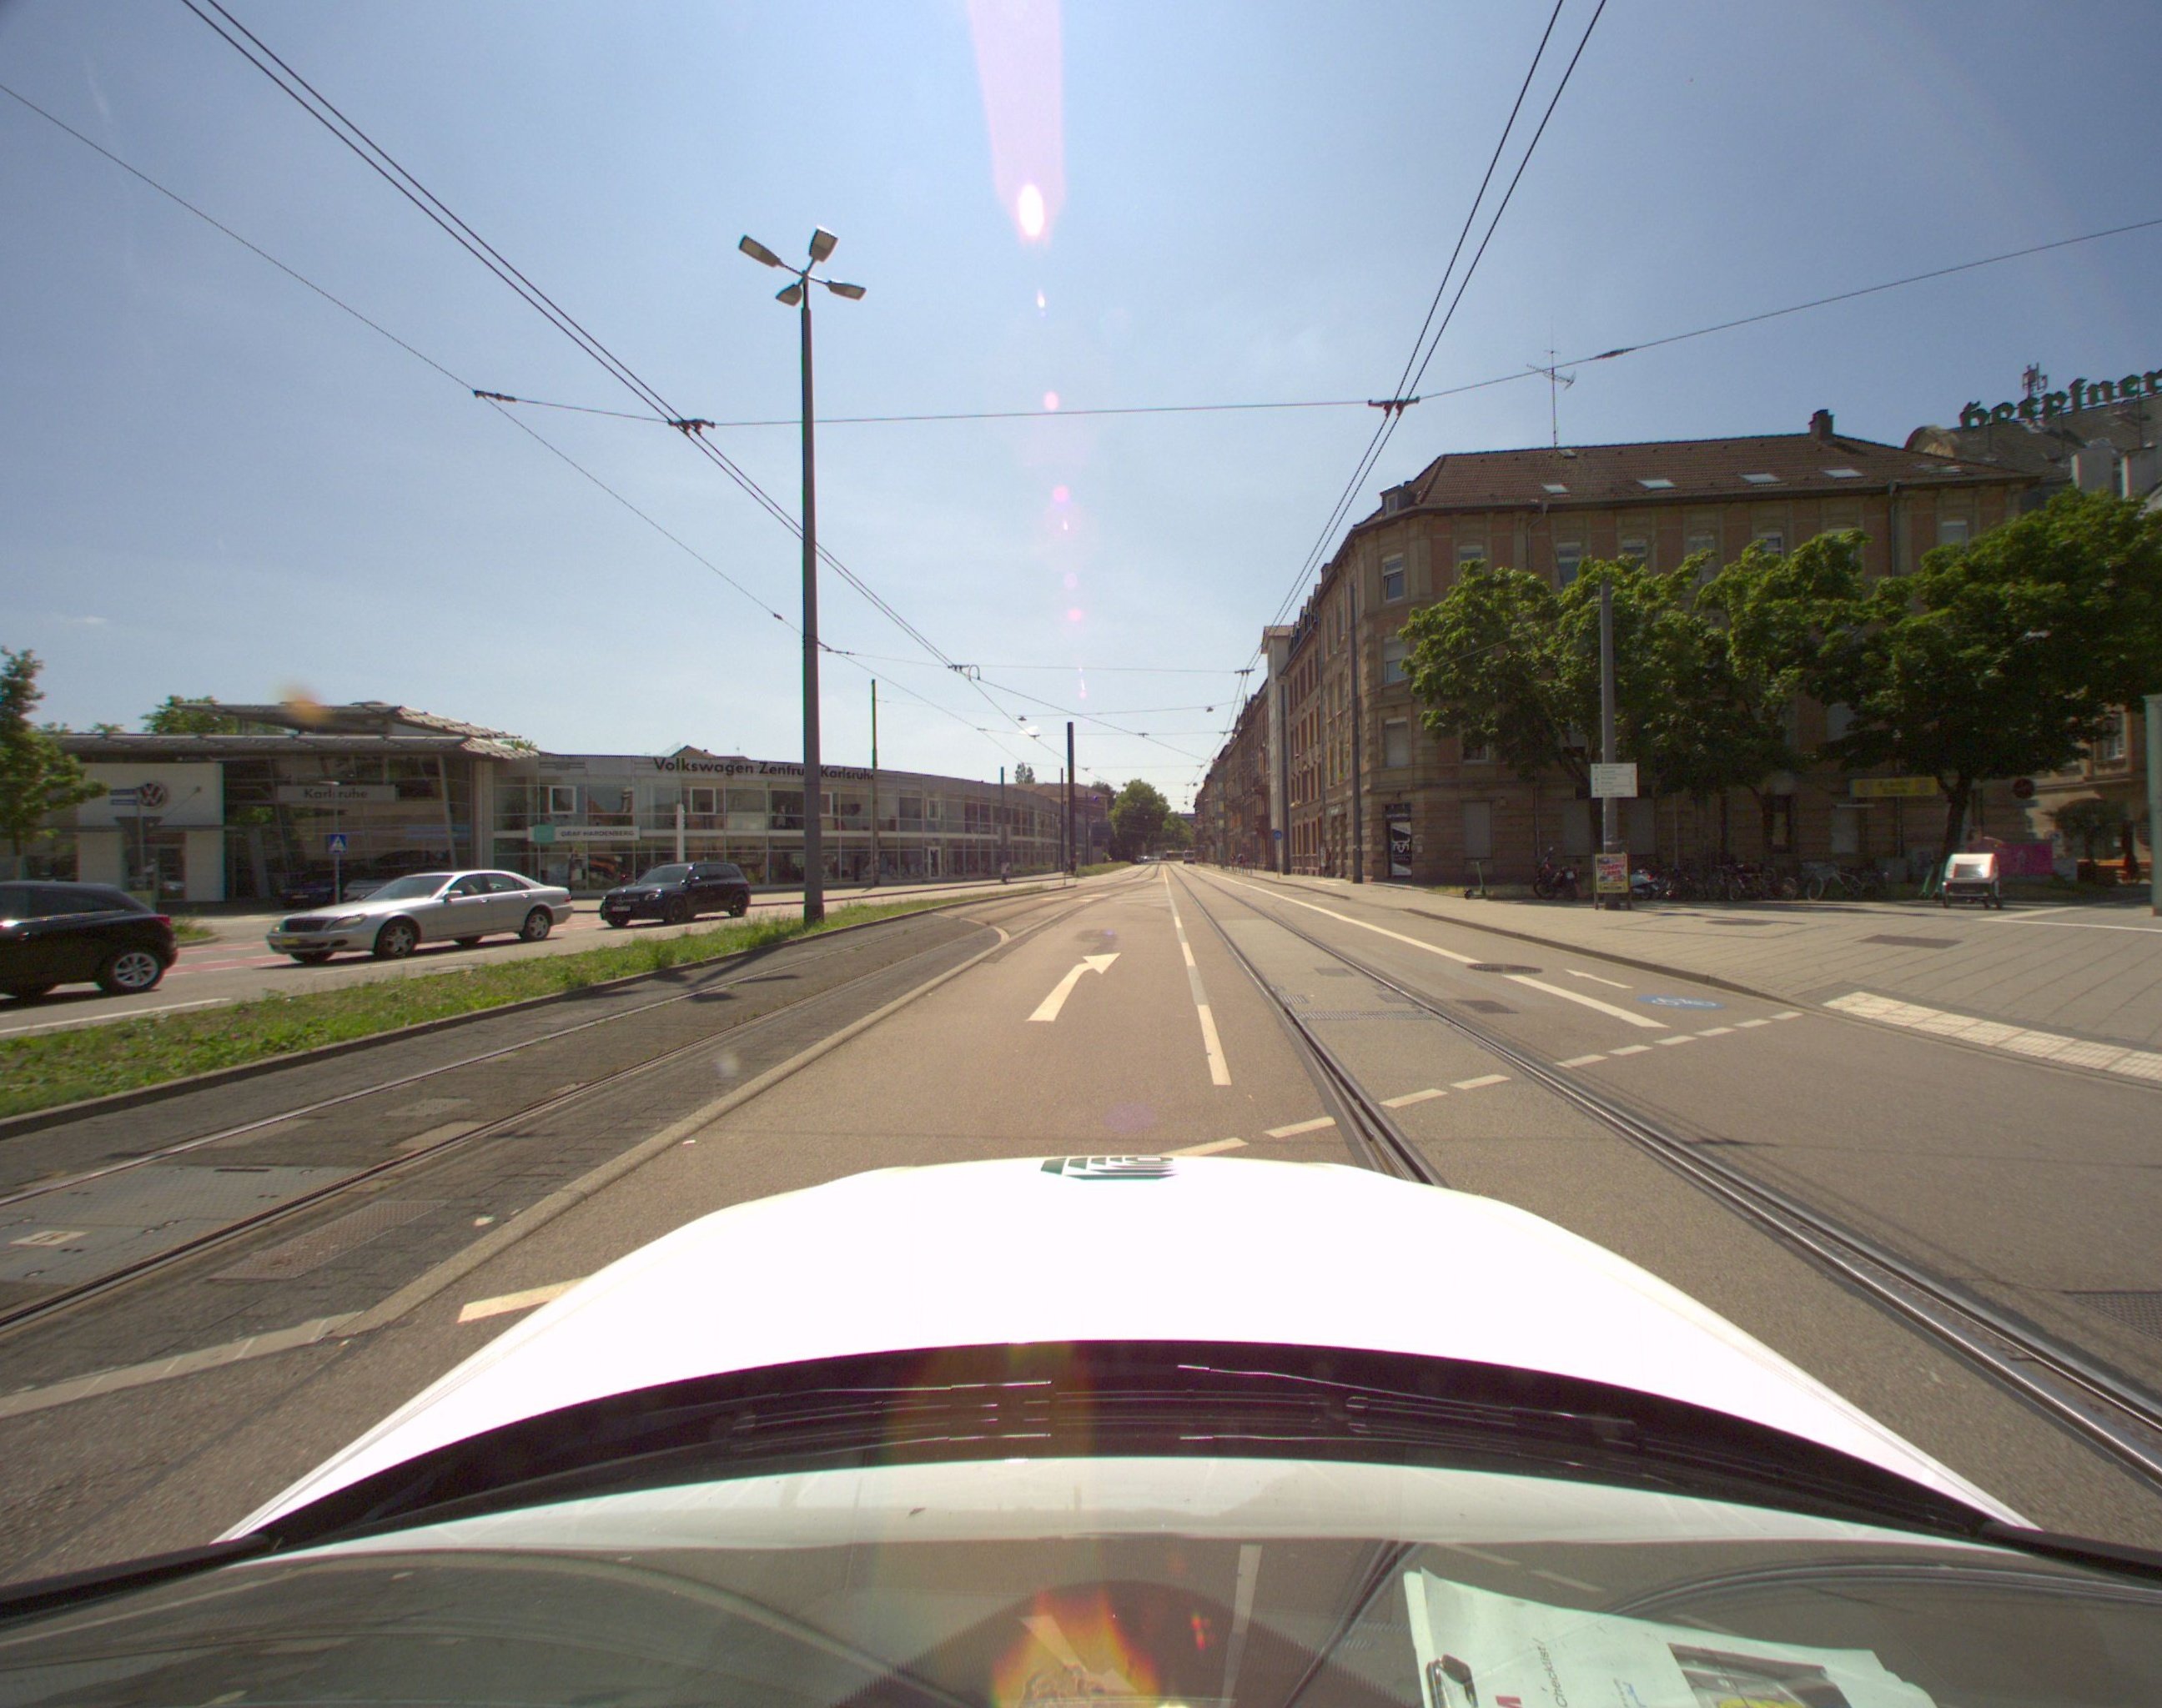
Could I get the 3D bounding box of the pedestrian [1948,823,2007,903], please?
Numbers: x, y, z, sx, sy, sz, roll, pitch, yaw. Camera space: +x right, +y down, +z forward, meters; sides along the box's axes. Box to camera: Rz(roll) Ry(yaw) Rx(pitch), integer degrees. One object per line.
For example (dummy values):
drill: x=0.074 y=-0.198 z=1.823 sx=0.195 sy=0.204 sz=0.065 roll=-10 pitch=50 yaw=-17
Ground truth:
pedestrian: x=20.464 y=0.206 z=18.584 sx=0.828 sy=1.775 sz=0.805 roll=0 pitch=-2 yaw=-38

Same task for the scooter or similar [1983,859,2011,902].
scooter or similar: x=24.642 y=0.693 z=21.902 sx=0.989 sy=1.125 sz=0.266 roll=-1 pitch=0 yaw=-29

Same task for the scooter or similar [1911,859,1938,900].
scooter or similar: x=24.009 y=0.710 z=23.169 sx=0.989 sy=1.125 sz=0.266 roll=-1 pitch=0 yaw=-29

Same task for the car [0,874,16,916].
car: x=-48.091 y=1.788 z=34.161 sx=1.654 sy=1.832 sz=4.090 roll=-1 pitch=0 yaw=-6

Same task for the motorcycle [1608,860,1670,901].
motorcycle: x=15.789 y=0.727 z=23.078 sx=0.687 sy=1.096 sz=1.750 roll=-1 pitch=-1 yaw=7

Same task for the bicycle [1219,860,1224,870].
bicycle: x=15.746 y=1.181 z=91.047 sx=0.445 sy=1.097 sz=2.430 roll=-2 pitch=-1 yaw=11

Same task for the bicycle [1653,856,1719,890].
bicycle: x=21.895 y=0.682 z=29.477 sx=1.870 sy=1.178 sz=0.714 roll=-1 pitch=-1 yaw=-1

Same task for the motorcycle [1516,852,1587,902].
motorcycle: x=13.488 y=0.645 z=23.441 sx=0.760 sy=1.362 sz=2.600 roll=-1 pitch=-1 yaw=7

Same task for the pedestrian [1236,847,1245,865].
pedestrian: x=17.039 y=0.214 z=87.002 sx=0.699 sy=1.849 sz=0.645 roll=-5 pitch=-1 yaw=6

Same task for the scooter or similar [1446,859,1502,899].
scooter or similar: x=11.997 y=0.759 z=24.877 sx=1.527 sy=1.155 sz=0.710 roll=-1 pitch=0 yaw=-23

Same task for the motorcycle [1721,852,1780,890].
motorcycle: x=23.760 y=0.601 z=28.915 sx=1.632 sy=1.290 sz=0.503 roll=-1 pitch=-1 yaw=5

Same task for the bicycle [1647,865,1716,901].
bicycle: x=17.223 y=0.813 z=23.420 sx=0.642 sy=0.965 sz=2.086 roll=-1 pitch=0 yaw=7

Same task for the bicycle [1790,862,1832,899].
bicycle: x=20.925 y=0.752 z=23.366 sx=0.451 sy=0.992 sz=1.437 roll=-1 pitch=0 yaw=23

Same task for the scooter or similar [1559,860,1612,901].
scooter or similar: x=14.701 y=0.754 z=23.772 sx=0.599 sy=1.152 sz=1.377 roll=-1 pitch=-1 yaw=-4

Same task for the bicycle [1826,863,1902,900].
bicycle: x=22.180 y=0.768 z=23.099 sx=0.502 sy=0.992 sz=1.565 roll=-1 pitch=0 yaw=-9

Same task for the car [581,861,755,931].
car: x=-10.898 y=1.043 z=21.927 sx=1.811 sy=1.626 sz=4.536 roll=-2 pitch=-1 yaw=9

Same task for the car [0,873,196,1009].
car: x=-12.784 y=1.006 z=8.936 sx=1.662 sy=1.462 sz=3.910 roll=-2 pitch=0 yaw=6

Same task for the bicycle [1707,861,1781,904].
bicycle: x=18.788 y=0.797 z=23.130 sx=0.643 sy=1.146 sz=1.839 roll=-1 pitch=0 yaw=2

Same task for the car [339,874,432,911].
car: x=-30.688 y=1.648 z=36.074 sx=1.611 sy=1.420 sz=4.162 roll=-1 pitch=0 yaw=-18

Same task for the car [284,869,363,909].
car: x=-33.020 y=1.466 z=35.602 sx=1.429 sy=1.618 sz=3.306 roll=-1 pitch=0 yaw=-22

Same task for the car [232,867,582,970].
car: x=-12.294 y=1.073 z=15.485 sx=1.983 sy=1.530 sz=5.140 roll=-3 pitch=-1 yaw=6

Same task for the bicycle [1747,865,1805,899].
bicycle: x=19.706 y=0.789 z=23.107 sx=0.453 sy=0.905 sz=1.429 roll=-1 pitch=0 yaw=2

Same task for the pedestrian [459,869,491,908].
pedestrian: x=-26.161 y=1.475 z=35.150 sx=0.723 sy=1.642 sz=0.822 roll=-1 pitch=-1 yaw=9

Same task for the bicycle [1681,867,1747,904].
bicycle: x=18.035 y=0.875 z=23.250 sx=0.641 sy=0.965 sz=1.843 roll=-1 pitch=0 yaw=9

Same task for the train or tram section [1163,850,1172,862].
train or tram section: x=27.805 y=0.581 z=262.117 sx=2.946 sy=3.580 sz=13.442 roll=-1 pitch=0 yaw=5

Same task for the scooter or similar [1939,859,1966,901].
scooter or similar: x=24.368 y=0.719 z=22.774 sx=0.989 sy=1.125 sz=0.266 roll=-1 pitch=0 yaw=-29

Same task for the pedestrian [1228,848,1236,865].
pedestrian: x=16.159 y=0.276 z=87.274 sx=0.716 sy=1.720 sz=0.645 roll=-1 pitch=-1 yaw=6

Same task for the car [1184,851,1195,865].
car: x=20.338 y=0.775 z=152.969 sx=2.056 sy=2.501 sz=5.464 roll=0 pitch=0 yaw=7

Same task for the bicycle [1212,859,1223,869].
bicycle: x=16.518 y=1.168 z=98.552 sx=0.494 sy=1.130 sz=2.257 roll=-2 pitch=-1 yaw=34

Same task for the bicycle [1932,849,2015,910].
bicycle: x=19.955 y=0.534 z=18.201 sx=2.232 sy=1.251 sz=1.087 roll=-1 pitch=0 yaw=-38
